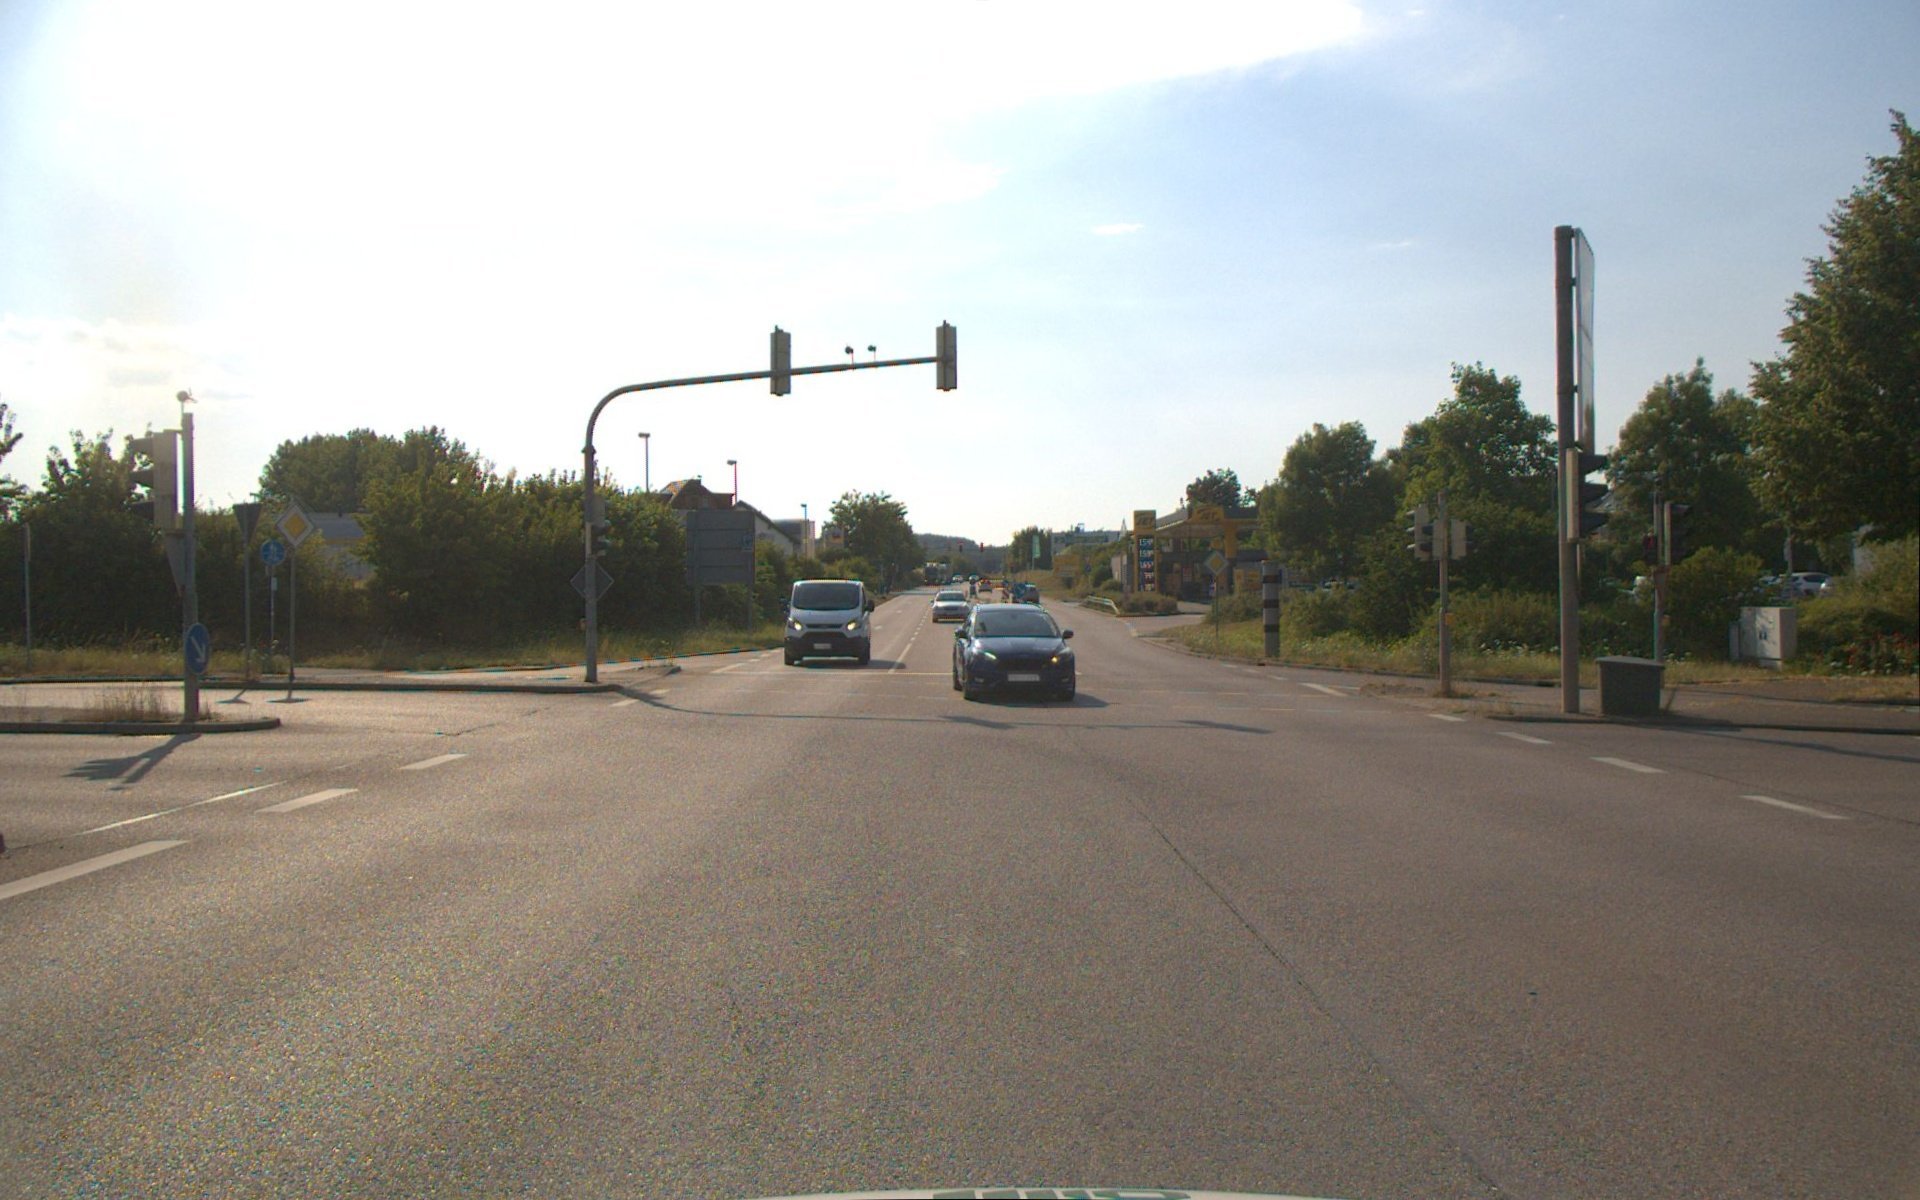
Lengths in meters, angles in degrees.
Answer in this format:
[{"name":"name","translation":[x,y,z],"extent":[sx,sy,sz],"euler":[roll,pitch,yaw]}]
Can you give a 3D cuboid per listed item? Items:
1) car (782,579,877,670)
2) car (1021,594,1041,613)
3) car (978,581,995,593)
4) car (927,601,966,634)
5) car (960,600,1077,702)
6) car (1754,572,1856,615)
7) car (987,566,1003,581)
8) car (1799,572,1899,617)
[{"name":"car","translation":[-3.083,0.525,39.905],"extent":[1.861,1.981,4.818],"euler":[1,1,0]},{"name":"car","translation":[5.575,0.269,129.424],"extent":[1.518,1.474,3.050],"euler":[1,-1,2]},{"name":"car","translation":[3.182,-1.524,200.368],"extent":[1.706,1.376,3.200],"euler":[1,-1,-5]},{"name":"car","translation":[-0.688,0.885,81.038],"extent":[1.819,1.540,4.952],"euler":[1,-1,-1]},{"name":"car","translation":[0.962,0.806,27.306],"extent":[1.751,1.524,4.303],"euler":[1,-1,2]},{"name":"car","translation":[43.461,-0.302,85.055],"extent":[4.847,2.049,1.987],"euler":[2,-1,-22]},{"name":"car","translation":[5.312,-4.015,249.187],"extent":[1.954,2.049,3.996],"euler":[1,-1,-5]},{"name":"car","translation":[44.591,-0.260,82.964],"extent":[4.592,2.049,1.987],"euler":[2,-1,-22]}]
